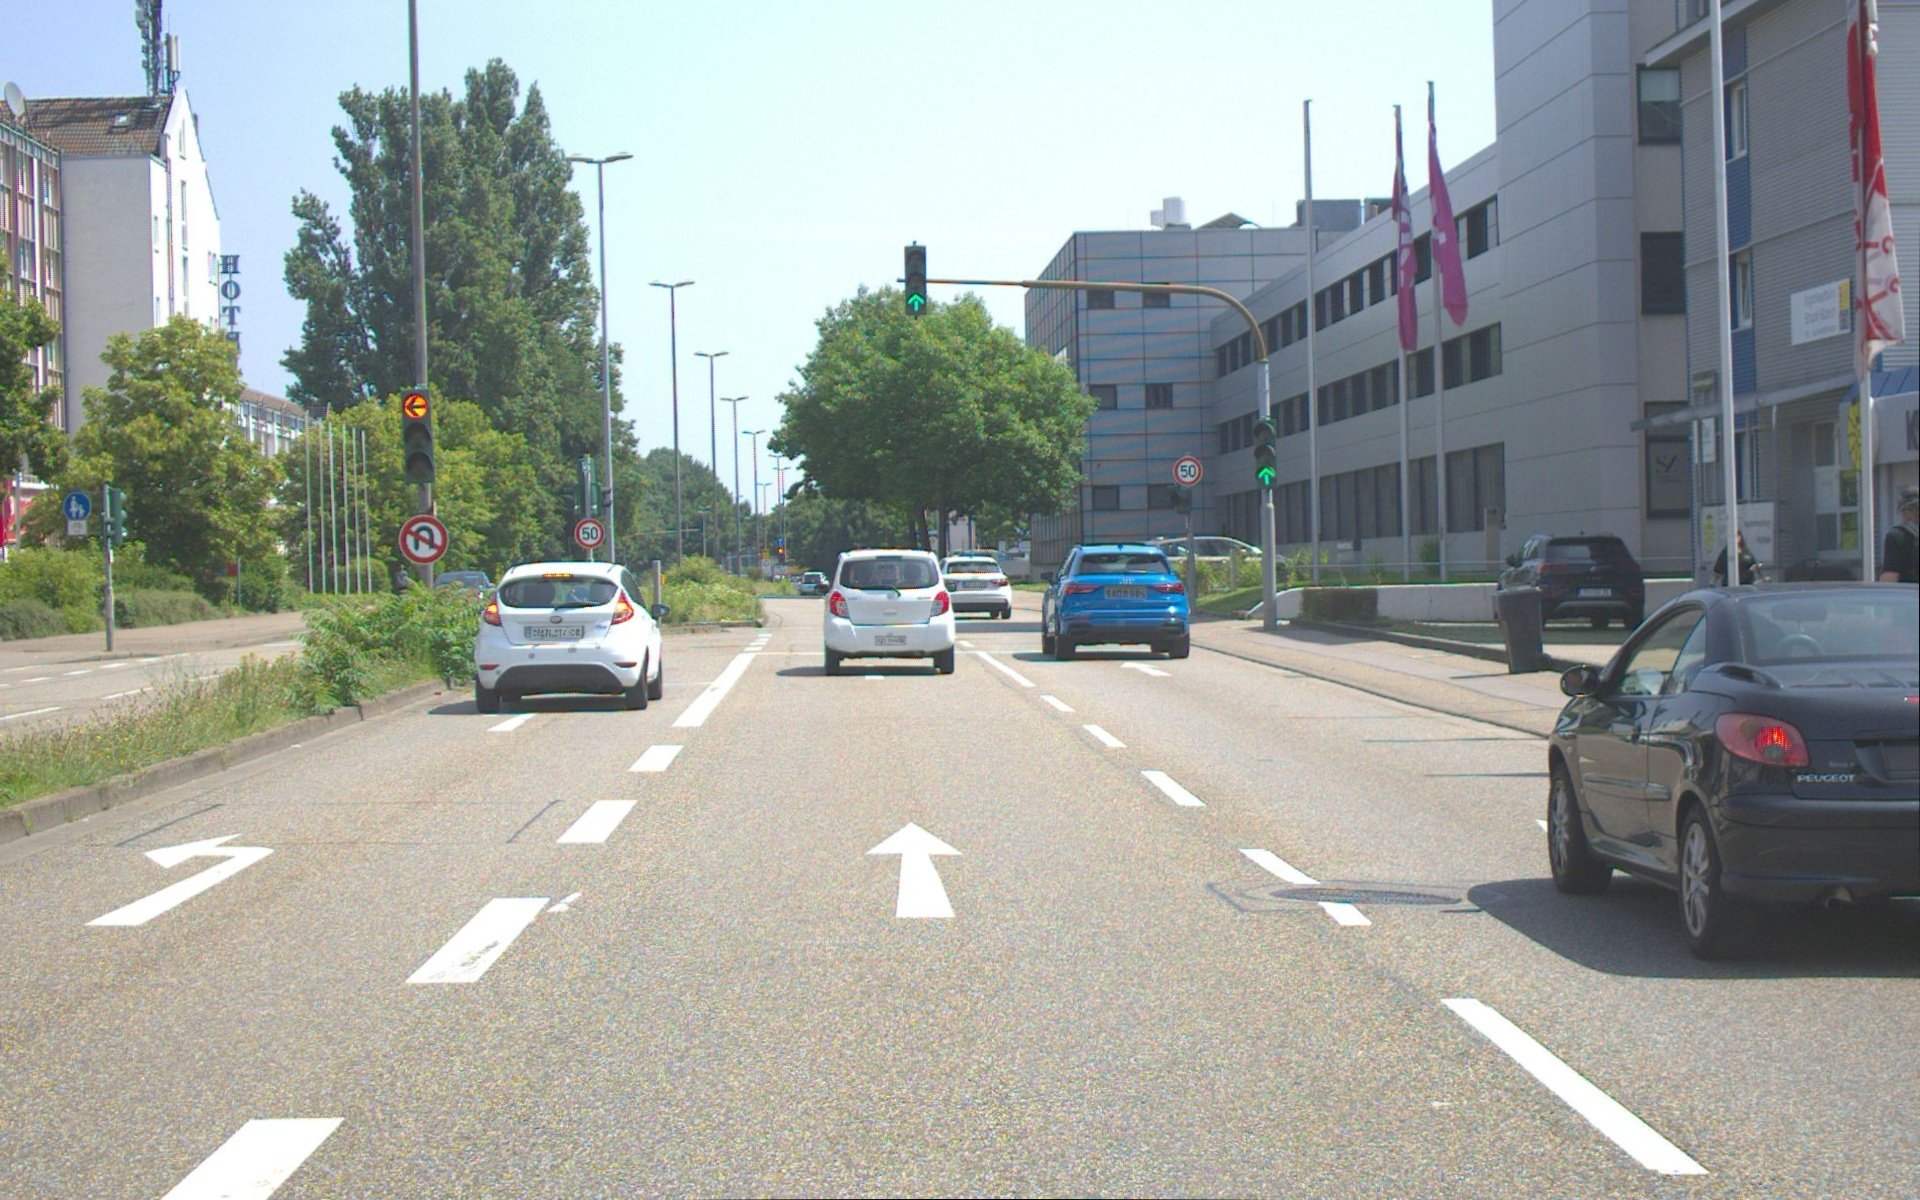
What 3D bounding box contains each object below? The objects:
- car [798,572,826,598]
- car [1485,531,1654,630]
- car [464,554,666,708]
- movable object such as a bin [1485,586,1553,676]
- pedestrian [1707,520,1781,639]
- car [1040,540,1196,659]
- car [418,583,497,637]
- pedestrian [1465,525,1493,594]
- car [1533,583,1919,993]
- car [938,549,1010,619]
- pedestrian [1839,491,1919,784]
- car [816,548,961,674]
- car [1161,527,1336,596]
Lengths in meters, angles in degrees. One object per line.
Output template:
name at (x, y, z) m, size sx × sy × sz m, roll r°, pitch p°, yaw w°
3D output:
car at (-9.974, -1.029, 231.388) m, size 1.819 × 1.656 × 4.000 m, roll -2°, pitch 1°, yaw -3°
car at (9.773, -0.325, 55.412) m, size 1.844 × 1.526 × 4.197 m, roll 0°, pitch 1°, yaw -2°
car at (-3.950, 0.272, 34.851) m, size 1.688 × 1.429 × 3.711 m, roll -1°, pitch 1°, yaw -2°
movable object such as a bin at (6.031, 0.334, 37.107) m, size 0.551 × 0.916 × 0.653 m, roll -4°, pitch 1°, yaw -1°
pedestrian at (10.882, -0.289, 47.739) m, size 0.810 × 1.621 × 0.853 m, roll -2°, pitch 1°, yaw 1°
car at (2.182, -0.032, 48.248) m, size 1.827 × 1.575 × 3.606 m, roll -1°, pitch 1°, yaw -3°
car at (-14.716, 0.275, 100.864) m, size 1.993 × 1.481 × 4.502 m, roll -2°, pitch 1°, yaw -5°
pedestrian at (12.443, -0.979, 82.444) m, size 0.593 × 1.629 × 0.523 m, roll -2°, pitch 1°, yaw 6°
car at (3.432, 0.637, 13.597) m, size 1.627 × 1.359 × 3.606 m, roll 0°, pitch 1°, yaw -2°
car at (0.326, -0.380, 77.949) m, size 1.559 × 1.515 × 3.605 m, roll -1°, pitch 1°, yaw 1°
pedestrian at (6.190, 0.223, 22.136) m, size 0.785 × 1.840 × 0.936 m, roll -2°, pitch 1°, yaw 1°
car at (-0.888, 0.108, 43.513) m, size 1.748 × 1.515 × 3.746 m, roll 0°, pitch 1°, yaw -1°
car at (7.577, -1.007, 90.504) m, size 4.258 × 1.683 × 2.000 m, roll -2°, pitch 1°, yaw -6°
